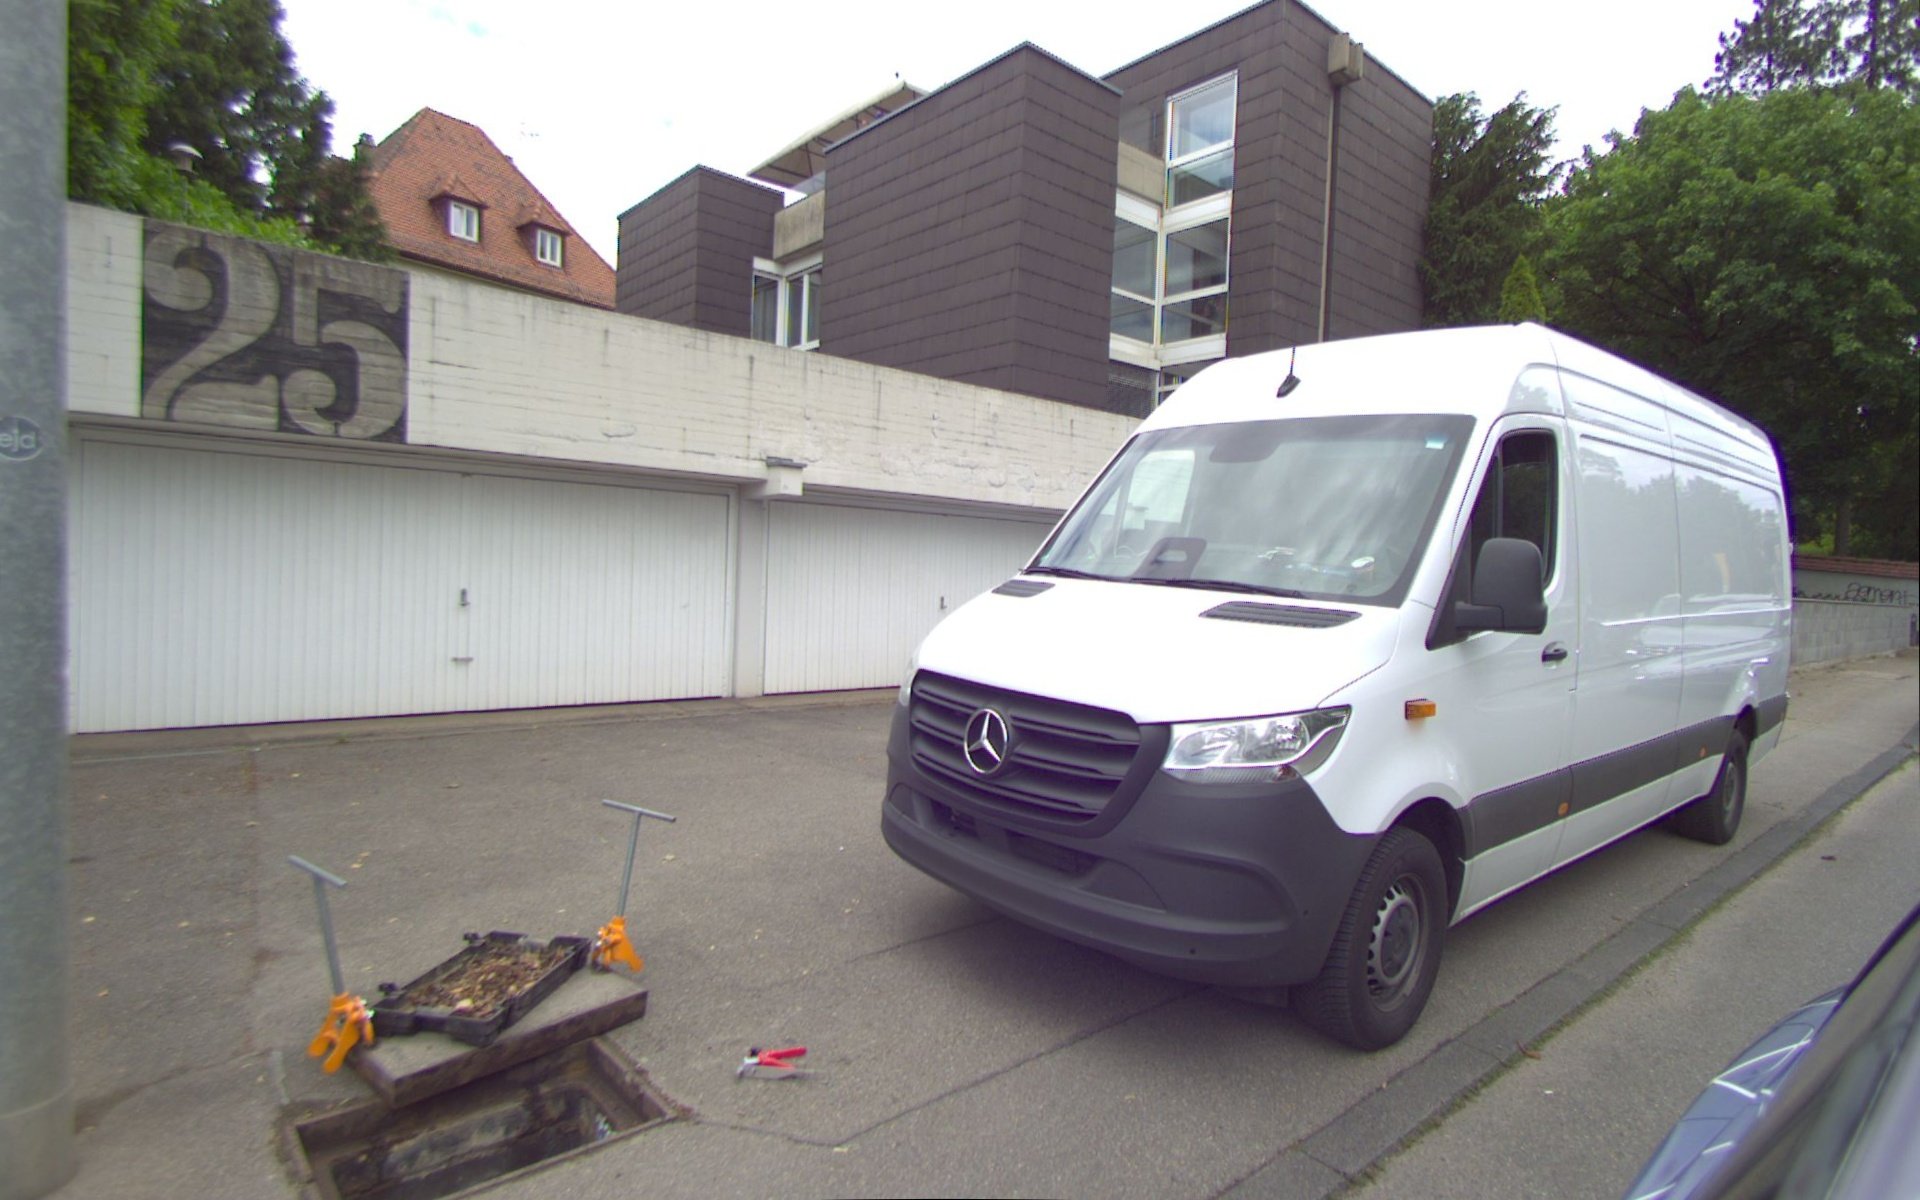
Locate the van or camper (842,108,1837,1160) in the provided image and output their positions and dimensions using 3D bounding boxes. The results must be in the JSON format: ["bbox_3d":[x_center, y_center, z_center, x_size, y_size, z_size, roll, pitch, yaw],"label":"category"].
[{"bbox_3d":[2.648,0.011,5.409,6.429,2.656,1.996,-1,5,-41],"label":"van or camper"}]

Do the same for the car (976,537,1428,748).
[{"bbox_3d":[2.222,0.234,10.415,1.665,1.695,4.393,0,3,-39],"label":"car"}]

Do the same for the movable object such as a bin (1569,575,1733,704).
[{"bbox_3d":[8.584,0.438,12.594,1.096,1.469,1.407,0,2,-40],"label":"movable object such as a bin"}]
